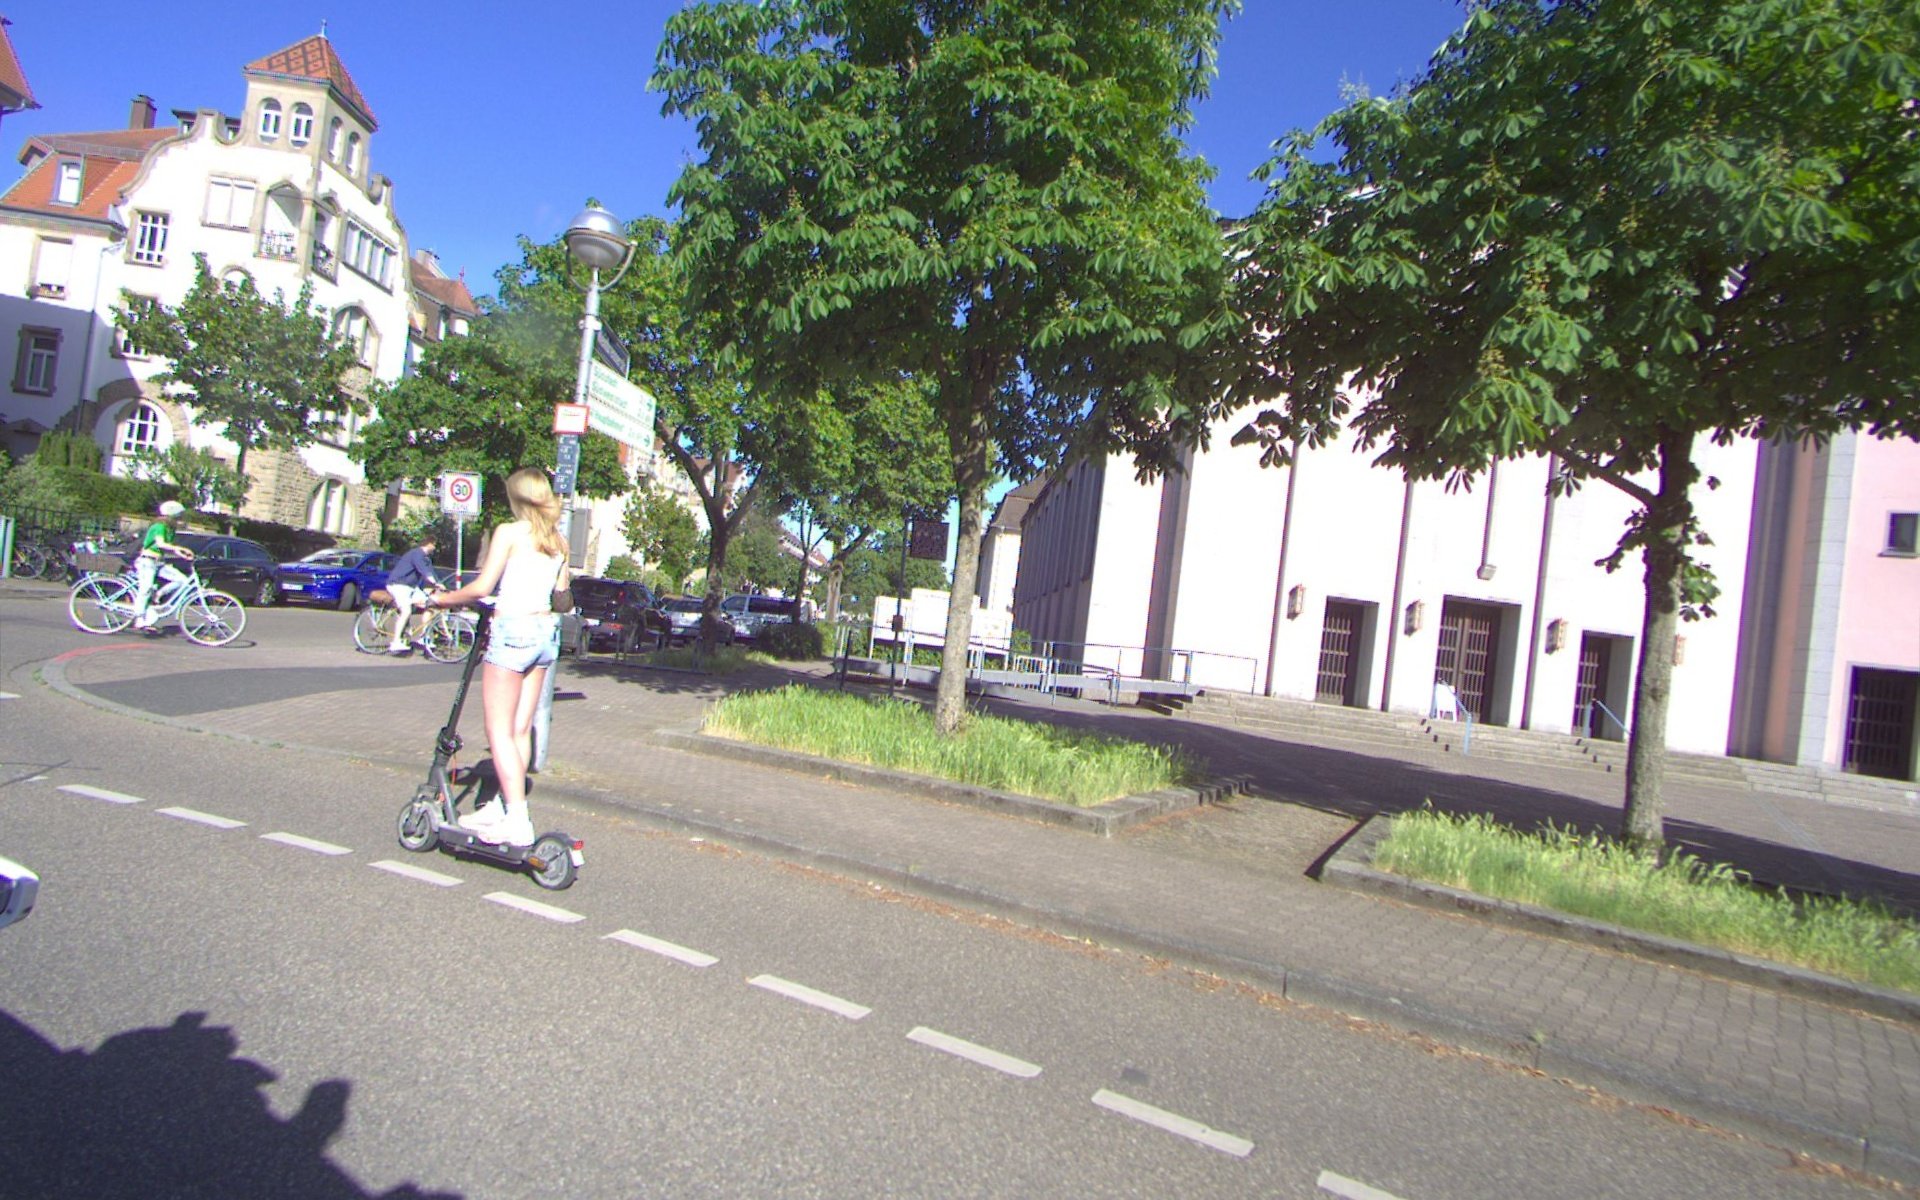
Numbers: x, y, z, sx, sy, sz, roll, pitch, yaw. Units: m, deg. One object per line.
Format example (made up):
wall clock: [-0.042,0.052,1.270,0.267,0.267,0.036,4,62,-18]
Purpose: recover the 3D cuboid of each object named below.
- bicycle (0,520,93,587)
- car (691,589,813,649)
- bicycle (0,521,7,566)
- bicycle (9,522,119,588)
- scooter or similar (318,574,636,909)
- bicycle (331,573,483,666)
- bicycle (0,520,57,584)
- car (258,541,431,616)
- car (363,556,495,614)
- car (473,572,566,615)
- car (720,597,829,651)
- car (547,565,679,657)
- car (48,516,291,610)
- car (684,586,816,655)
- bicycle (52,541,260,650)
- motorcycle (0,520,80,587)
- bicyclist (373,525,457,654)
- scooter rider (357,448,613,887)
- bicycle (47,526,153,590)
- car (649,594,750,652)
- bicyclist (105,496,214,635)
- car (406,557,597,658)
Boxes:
bicycle: [-19.158,-0.977,20.837,1.698,1.120,0.500,9,-1,-8]
car: [-8.854,0.847,43.212,4.693,1.862,1.810,8,-2,-2]
bicycle: [-19.032,-1.068,18.832,1.696,1.128,0.546,9,-1,-1]
bicycle: [-19.149,-0.951,21.520,1.697,1.120,0.501,9,-1,-4]
scooter or similar: [-2.239,0.612,4.697,1.086,1.298,0.633,7,-1,21]
bicycle: [-7.901,0.288,14.440,1.687,1.120,0.645,7,-1,-7]
bicycle: [-18.951,-1.027,19.641,1.803,1.120,0.499,10,-1,-17]
car: [-15.915,-0.486,26.306,1.776,1.580,4.400,5,-2,-1]
car: [-16.431,-0.395,31.412,1.776,1.468,4.400,5,-2,-1]
car: [-17.565,-0.211,40.331,1.776,1.413,4.400,5,-2,-1]
car: [-8.713,1.142,47.550,4.693,1.862,1.810,8,-2,-2]
car: [-8.107,0.291,23.939,1.778,1.748,4.338,8,-2,-5]
car: [-15.927,-0.652,20.619,1.777,1.501,4.337,5,-2,-6]
car: [-8.250,0.841,39.881,4.696,2.024,1.809,8,-1,-5]
bicycle: [-9.949,-0.040,12.531,1.838,1.121,0.593,7,-1,-23]
motorcycle: [-18.962,-0.971,20.309,1.698,1.120,0.500,9,-1,-8]
bicyclist: [-7.813,-0.134,14.451,0.710,1.735,0.645,6,-1,-7]
scooter rider: [-2.196,0.293,4.702,0.620,1.853,0.625,7,-1,21]
bicycle: [-19.166,-0.935,22.438,1.697,1.120,0.515,9,-1,-4]
car: [-8.156,0.780,31.929,1.776,1.490,4.343,8,-2,2]
bicyclist: [-9.944,-0.411,12.527,0.793,1.600,0.593,6,-1,-23]
car: [-8.361,0.191,18.821,1.778,1.432,4.338,8,-2,-5]
